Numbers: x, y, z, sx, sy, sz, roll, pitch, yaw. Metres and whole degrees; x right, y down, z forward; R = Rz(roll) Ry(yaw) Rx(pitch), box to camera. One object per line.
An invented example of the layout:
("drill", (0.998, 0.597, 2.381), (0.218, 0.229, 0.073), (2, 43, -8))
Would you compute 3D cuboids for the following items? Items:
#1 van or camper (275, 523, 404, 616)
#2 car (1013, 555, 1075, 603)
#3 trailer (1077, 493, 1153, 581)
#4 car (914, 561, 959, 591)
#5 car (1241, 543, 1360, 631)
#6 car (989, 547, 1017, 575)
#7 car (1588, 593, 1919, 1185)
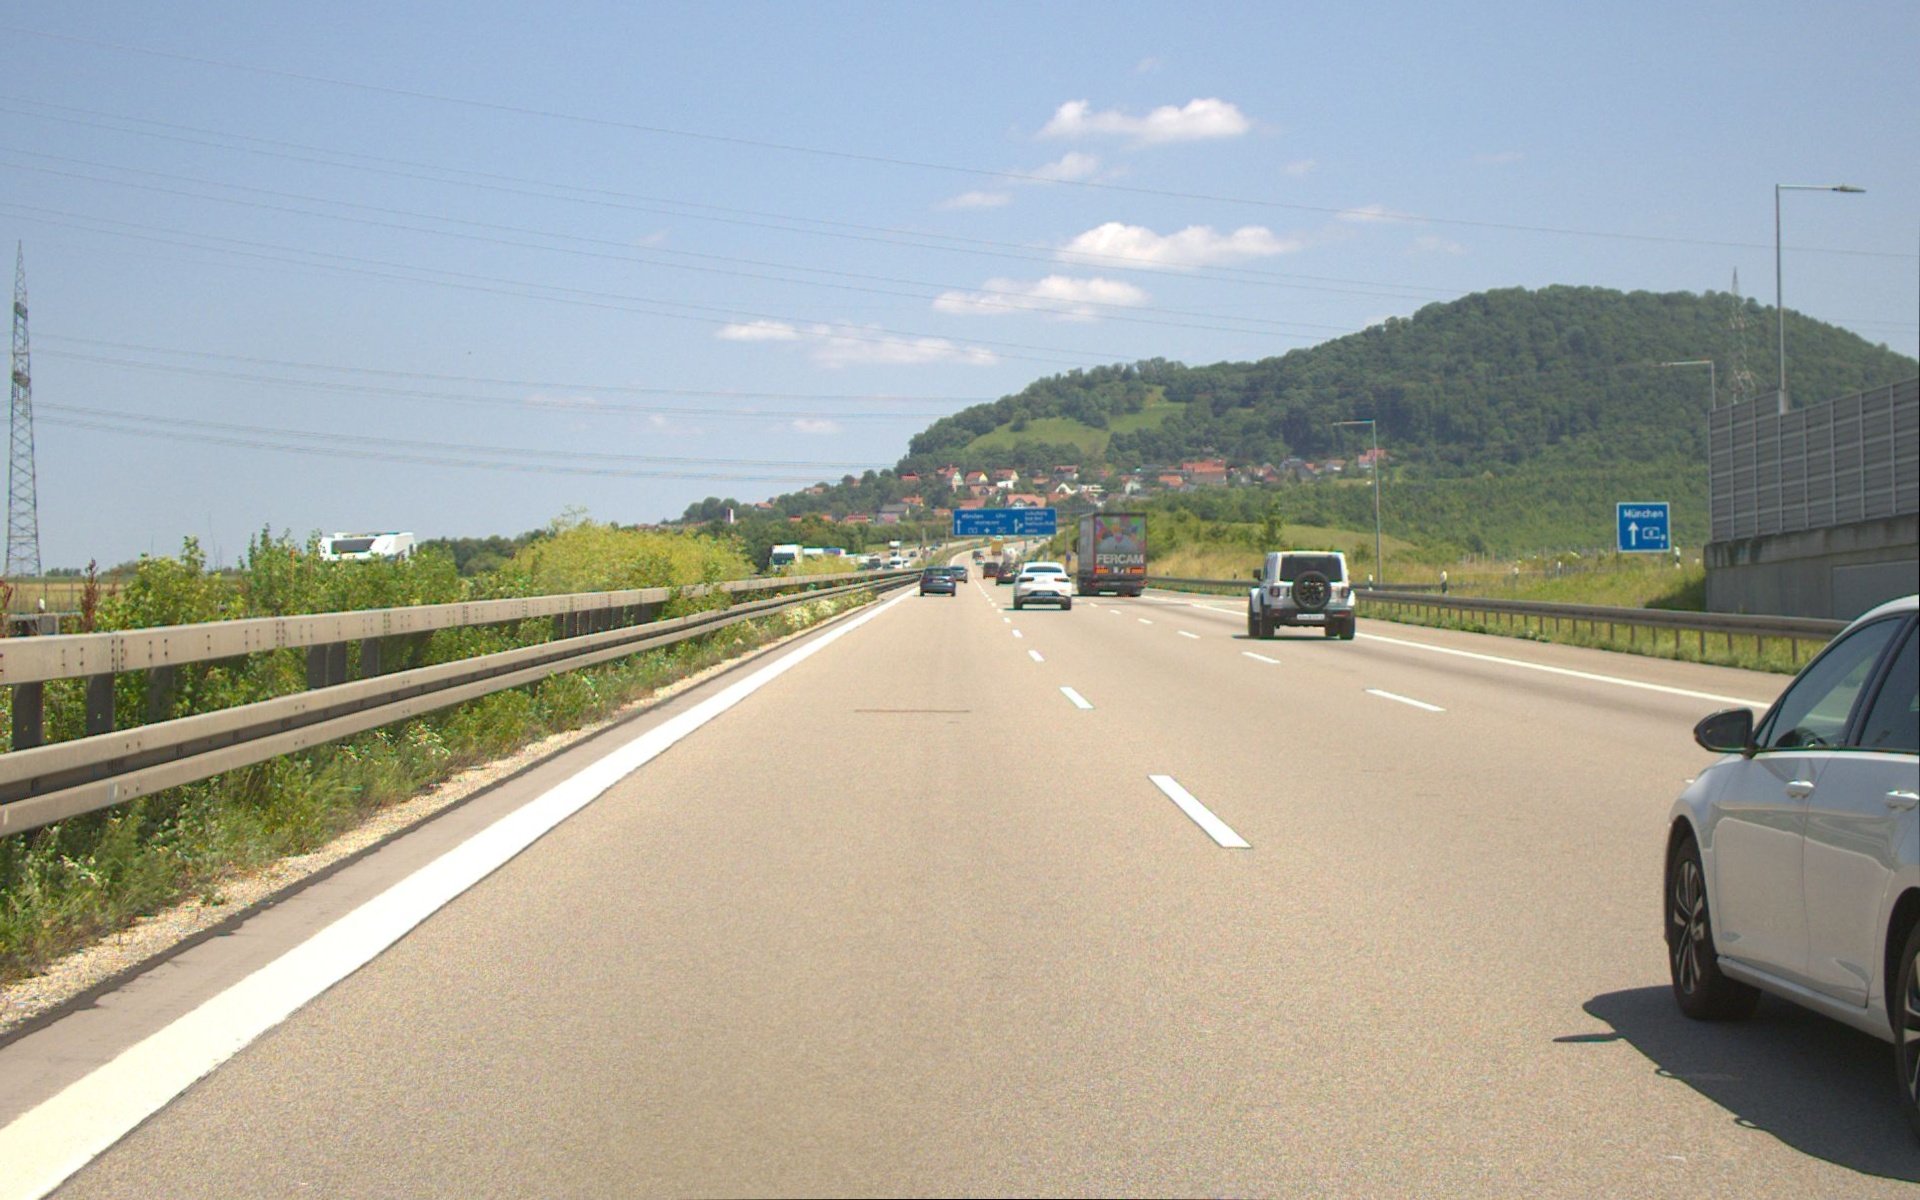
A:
("van or camper", (-17.716, -0.822, 98.483), (2.535, 2.527, 6.709), (0, -1, -1))
("car", (2.795, -0.705, 115.973), (1.914, 1.575, 5.231), (1, 0, 0))
("trailer", (7.593, -3.031, 169.802), (2.725, 4.141, 11.809), (1, 0, -2))
("car", (-1.087, -1.127, 161.601), (1.993, 1.384, 4.000), (1, 0, 1))
("car", (7.148, -0.289, 72.521), (2.034, 1.798, 4.251), (0, 1, -1))
("car", (3.180, -2.834, 253.464), (1.993, 2.007, 4.000), (1, 0, 1))
("car", (3.212, 0.715, 10.175), (1.776, 1.428, 4.691), (1, 0, -1))
